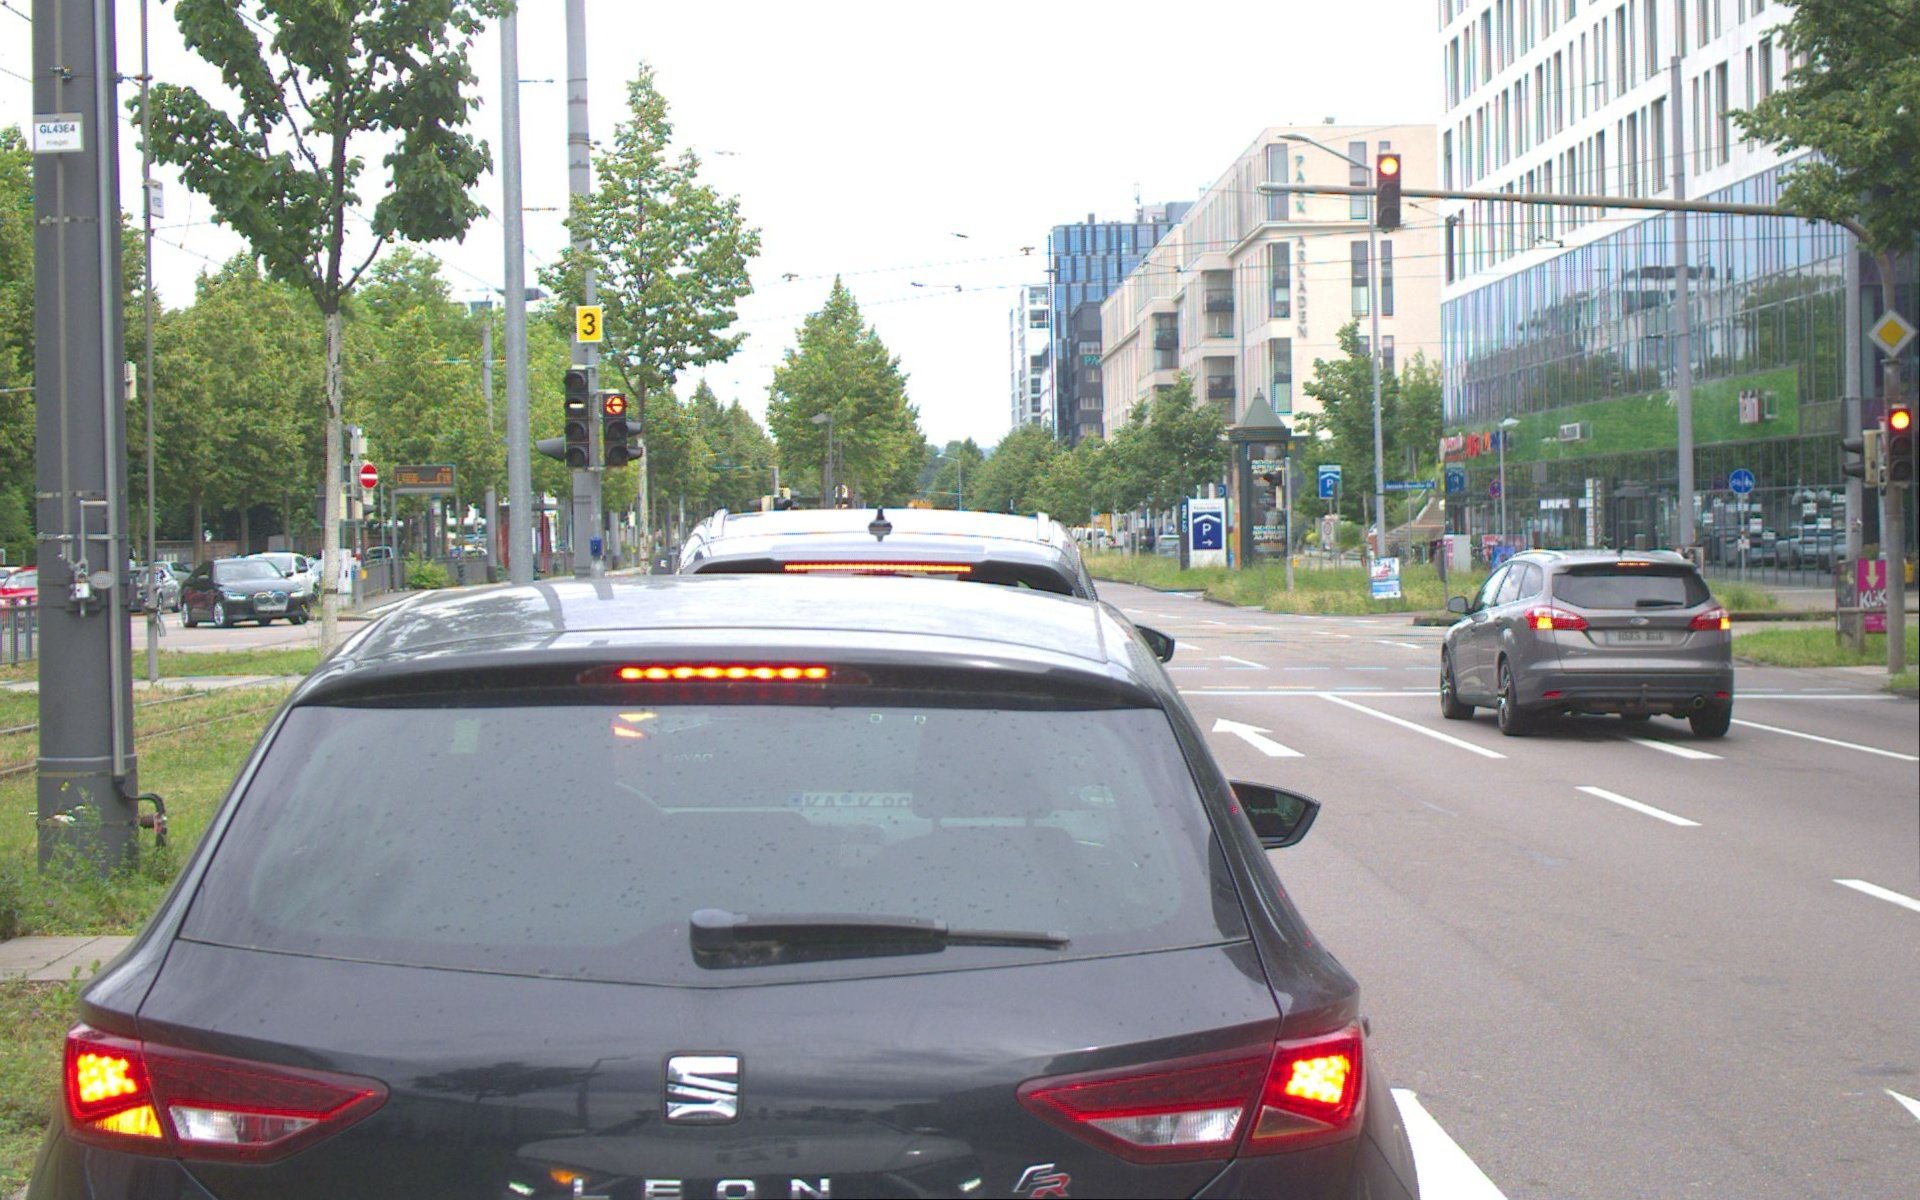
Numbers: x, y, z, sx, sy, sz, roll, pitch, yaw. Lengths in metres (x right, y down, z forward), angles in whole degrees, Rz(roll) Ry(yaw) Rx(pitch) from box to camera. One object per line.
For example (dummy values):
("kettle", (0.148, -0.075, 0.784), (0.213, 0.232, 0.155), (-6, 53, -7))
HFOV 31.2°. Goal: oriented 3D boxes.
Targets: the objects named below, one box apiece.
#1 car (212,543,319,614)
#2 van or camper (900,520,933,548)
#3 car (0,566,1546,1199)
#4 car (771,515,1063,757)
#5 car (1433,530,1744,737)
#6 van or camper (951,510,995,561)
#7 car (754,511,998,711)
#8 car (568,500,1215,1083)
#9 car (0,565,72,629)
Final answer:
("car", (-17.886, -0.572, 88.709), (1.993, 1.744, 4.201), (-1, 1, -2))
("van or camper", (-2.642, -4.046, 210.202), (1.993, 1.609, 4.789), (0, 2, 0))
("car", (-0.333, 0.685, 5.479), (1.743, 1.412, 4.000), (1, 1, -1))
("car", (-0.242, 0.203, 26.087), (1.994, 1.676, 4.000), (1, 1, 2))
("car", (5.089, 0.213, 28.363), (1.748, 1.494, 4.269), (0, 2, 0))
("van or camper", (0.635, -3.240, 170.970), (2.109, 2.348, 4.924), (0, 3, 0))
("car", (-0.694, 0.045, 31.147), (1.993, 1.676, 4.000), (1, 1, 2))
("car", (-0.215, 0.499, 11.704), (1.802, 1.619, 4.000), (-1, 1, -1))
("car", (-21.694, -0.086, 78.447), (1.811, 1.373, 4.270), (-1, 1, -1))
